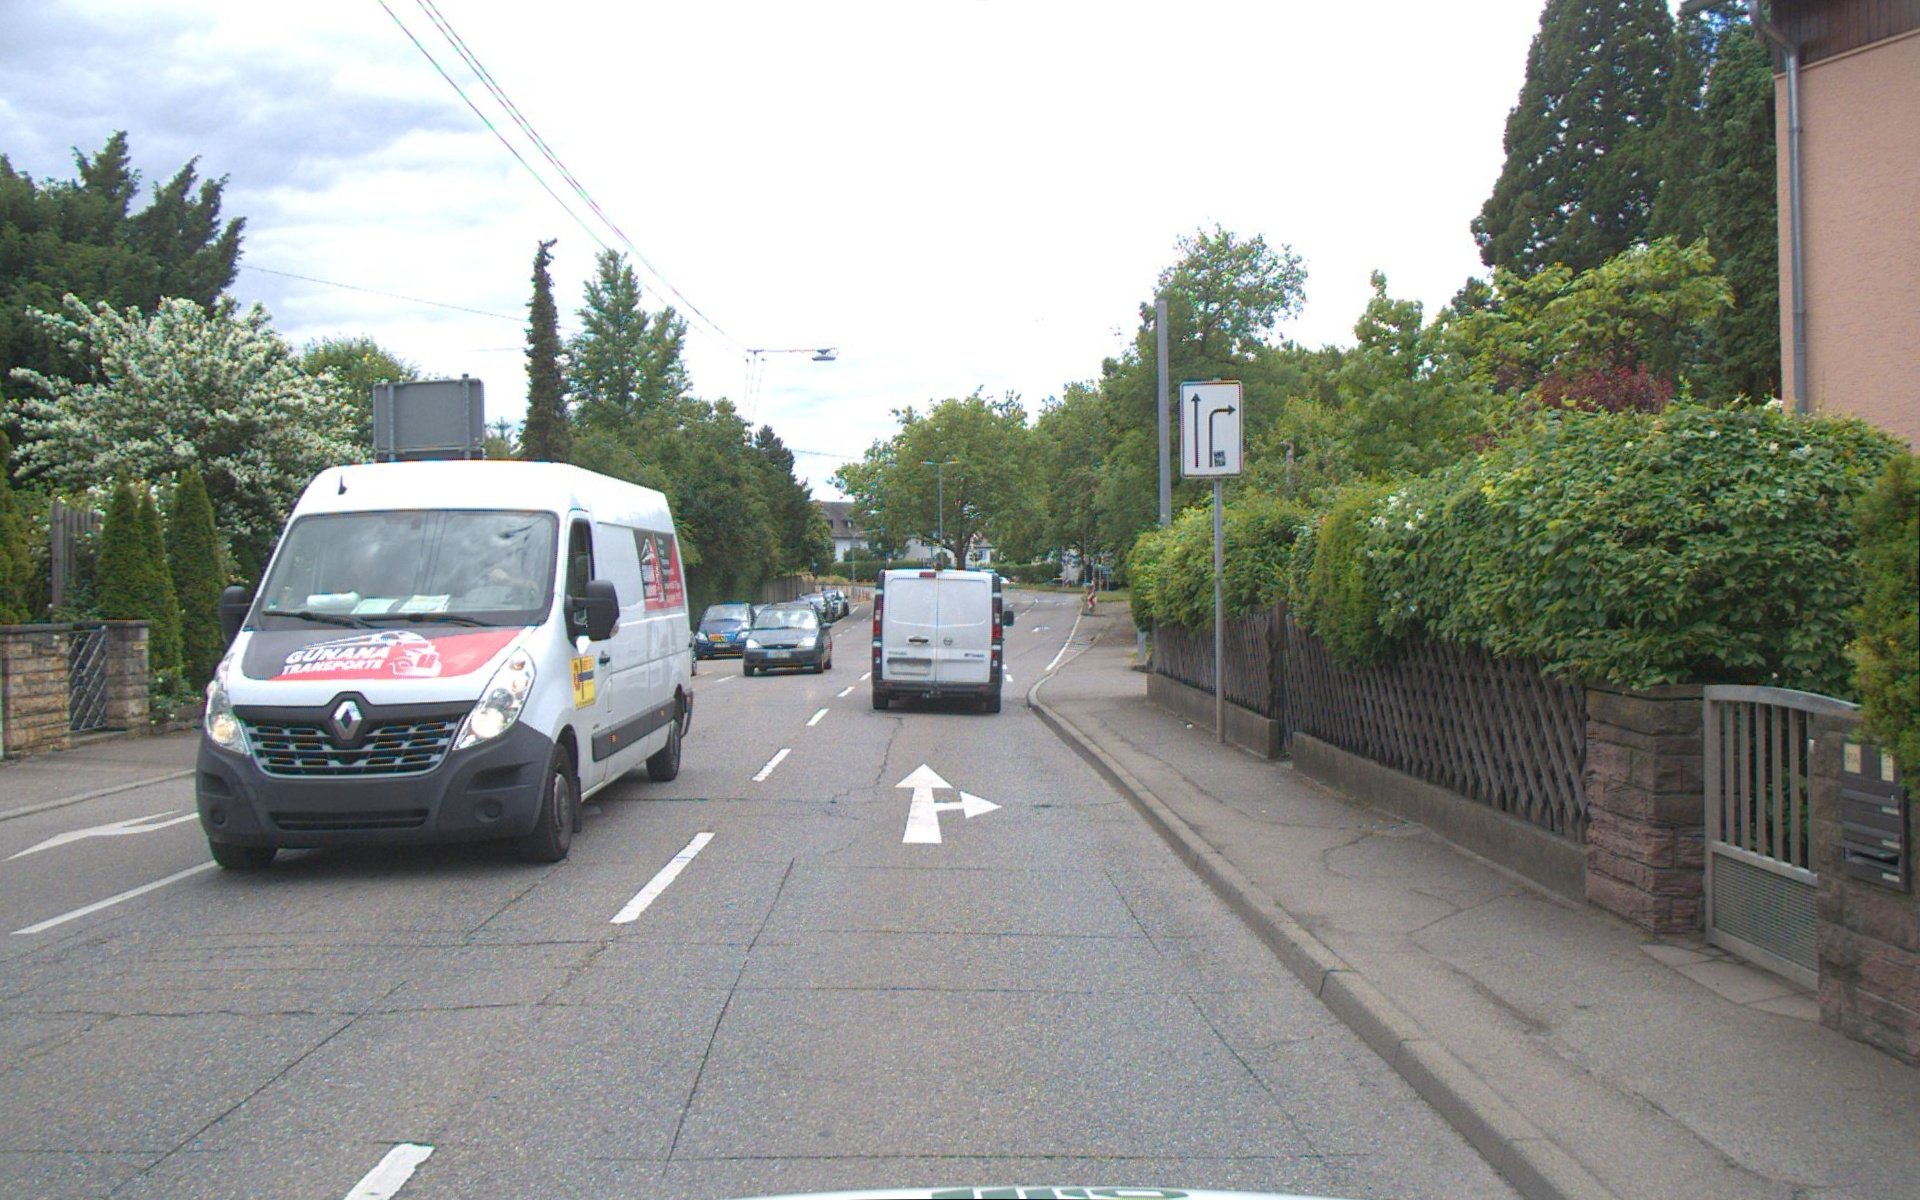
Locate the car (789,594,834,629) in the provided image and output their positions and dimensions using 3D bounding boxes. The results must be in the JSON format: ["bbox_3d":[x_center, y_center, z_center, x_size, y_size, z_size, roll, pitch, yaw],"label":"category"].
[{"bbox_3d":[-7.423,0.545,83.075,1.953,1.672,4.464,-2,0,-2],"label":"car"}]

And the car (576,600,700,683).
[{"bbox_3d":[-6.536,0.794,34.041,1.773,1.480,4.411,-3,0,-2],"label":"car"}]

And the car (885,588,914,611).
[{"bbox_3d":[-4.516,-0.047,123.751,1.804,1.676,4.214,-1,0,2],"label":"car"}]

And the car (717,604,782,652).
[{"bbox_3d":[-7.281,0.947,57.536,1.851,1.520,4.025,-2,0,-2],"label":"car"}]

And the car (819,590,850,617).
[{"bbox_3d":[-7.930,0.198,104.835,1.850,1.653,4.428,-1,0,-3],"label":"car"}]

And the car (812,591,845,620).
[{"bbox_3d":[-7.873,0.311,99.491,1.638,1.620,4.096,-2,1,-1],"label":"car"}]

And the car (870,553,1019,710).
[{"bbox_3d":[-0.291,0.415,24.803,1.966,2.073,5.008,1,0,-2],"label":"car"}]

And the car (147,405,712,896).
[{"bbox_3d":[-3.249,0.246,11.764,2.068,2.542,6.123,-1,0,-1],"label":"car"}]

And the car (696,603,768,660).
[{"bbox_3d":[-6.791,0.921,49.579,1.645,1.583,3.970,-2,0,-1],"label":"car"}]

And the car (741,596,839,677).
[{"bbox_3d":[-3.628,0.739,35.887,1.699,1.580,4.447,-1,0,-1],"label":"car"}]
